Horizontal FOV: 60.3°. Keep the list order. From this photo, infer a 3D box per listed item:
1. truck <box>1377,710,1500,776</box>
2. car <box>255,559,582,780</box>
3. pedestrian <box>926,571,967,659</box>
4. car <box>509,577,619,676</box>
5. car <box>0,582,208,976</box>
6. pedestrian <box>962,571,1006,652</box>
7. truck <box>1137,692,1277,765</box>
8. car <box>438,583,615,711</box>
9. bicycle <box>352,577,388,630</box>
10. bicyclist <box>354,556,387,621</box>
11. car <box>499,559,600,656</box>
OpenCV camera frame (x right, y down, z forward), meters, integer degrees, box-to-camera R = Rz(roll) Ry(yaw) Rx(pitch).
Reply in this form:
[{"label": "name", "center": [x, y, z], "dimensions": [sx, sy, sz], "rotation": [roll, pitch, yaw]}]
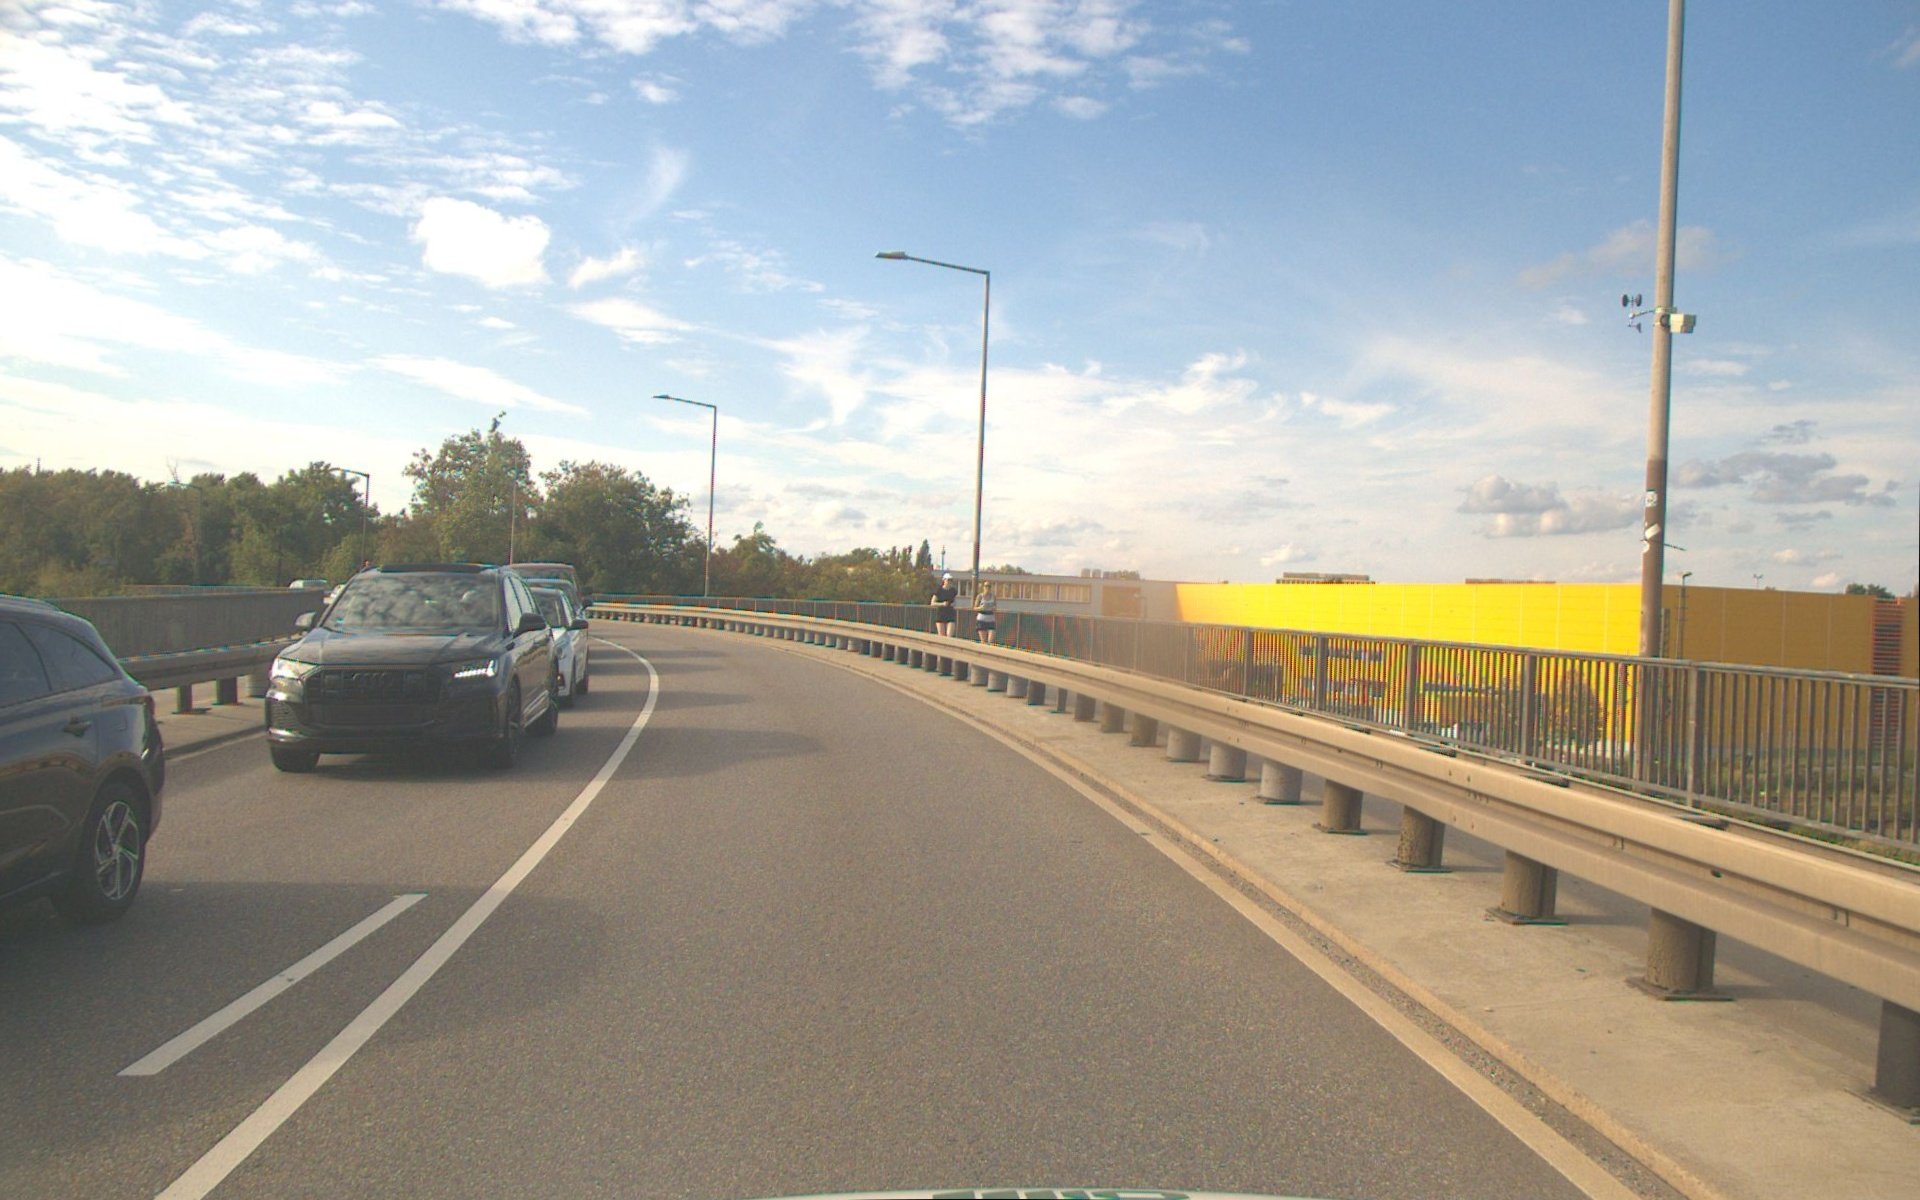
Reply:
[{"label": "truck", "center": [30.119, 8.961, 104.216], "dimensions": [7.091, 3.680, 2.656], "rotation": [0, 2, -16]}, {"label": "car", "center": [-4.739, 0.508, 15.235], "dimensions": [1.793, 1.701, 4.861], "rotation": [0, 1, -5]}, {"label": "pedestrian", "center": [-0.265, 0.282, 32.136], "dimensions": [0.664, 1.690, 0.863], "rotation": [0, 0, -10]}, {"label": "car", "center": [-7.019, 0.408, 29.653], "dimensions": [1.721, 1.637, 4.302], "rotation": [0, 1, -11]}, {"label": "car", "center": [-4.550, 0.696, 6.095], "dimensions": [1.725, 1.515, 4.443], "rotation": [0, 1, -3]}, {"label": "pedestrian", "center": [0.467, 0.229, 32.542], "dimensions": [0.665, 1.570, 0.958], "rotation": [0, 0, -12]}, {"label": "truck", "center": [15.694, 8.111, 105.191], "dimensions": [8.450, 4.162, 2.656], "rotation": [0, 2, -16]}, {"label": "car", "center": [-5.667, 0.547, 22.042], "dimensions": [1.707, 1.527, 4.072], "rotation": [0, 1, -7]}, {"label": "bicycle", "center": [-15.465, 0.076, 43.390], "dimensions": [0.752, 1.355, 1.907], "rotation": [0, 0, -16]}, {"label": "bicyclist", "center": [-15.476, -0.296, 43.460], "dimensions": [0.754, 1.689, 1.115], "rotation": [0, 0, -17]}, {"label": "car", "center": [-8.899, 0.117, 35.738], "dimensions": [1.974, 1.936, 4.849], "rotation": [0, 1, -15]}]
